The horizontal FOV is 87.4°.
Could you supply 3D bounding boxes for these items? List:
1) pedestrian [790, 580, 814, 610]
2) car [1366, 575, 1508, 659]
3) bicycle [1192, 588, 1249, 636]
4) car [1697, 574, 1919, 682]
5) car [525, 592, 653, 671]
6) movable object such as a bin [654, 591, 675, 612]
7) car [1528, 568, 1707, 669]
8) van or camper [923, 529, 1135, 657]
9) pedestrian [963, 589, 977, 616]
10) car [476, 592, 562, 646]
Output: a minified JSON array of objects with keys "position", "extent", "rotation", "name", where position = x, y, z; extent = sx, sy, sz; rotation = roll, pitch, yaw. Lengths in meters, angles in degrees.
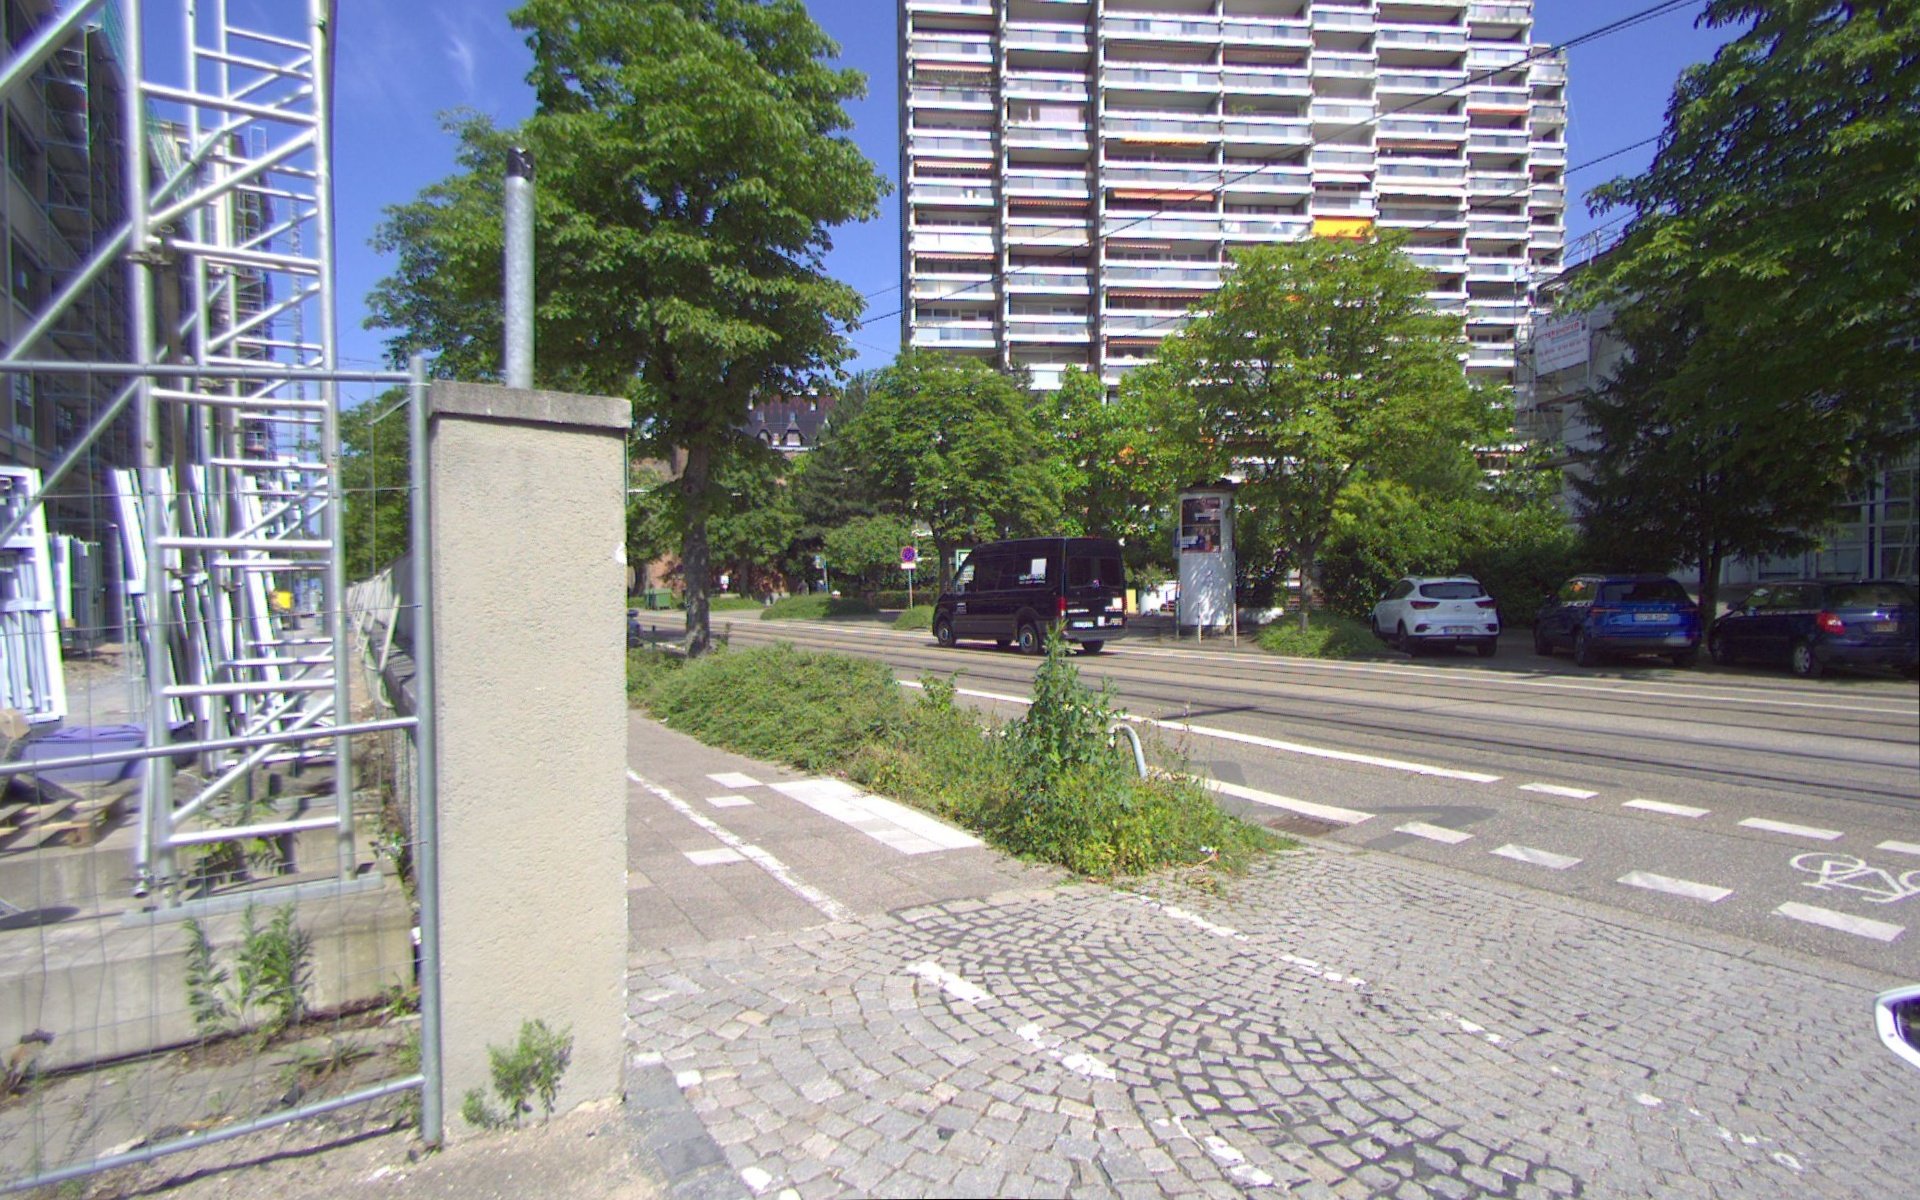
[{"position":[-9.866,-0.323,62.636],"extent":[1.048,1.822,1.253],"rotation":[0,1,-32],"name":"pedestrian"},{"position":[10.138,0.305,21.657],"extent":[1.783,1.628,3.947],"rotation":[0,1,10],"name":"car"},{"position":[7.505,0.327,28.955],"extent":[0.542,1.326,1.604],"rotation":[-1,1,-37],"name":"bicycle"},{"position":[13.681,0.378,16.245],"extent":[1.544,1.551,3.460],"rotation":[0,1,12],"name":"car"},{"position":[-8.120,0.606,21.781],"extent":[1.801,1.514,4.071],"rotation":[-1,1,-32],"name":"car"},{"position":[-20.890,0.080,71.047],"extent":[1.249,1.473,1.072],"rotation":[0,1,-27],"name":"movable object such as a bin"},{"position":[12.144,0.270,18.829],"extent":[1.745,1.644,3.945],"rotation":[-1,2,17],"name":"car"},{"position":[1.444,-0.178,23.837],"extent":[2.028,2.655,5.810],"rotation":[-1,1,-32],"name":"van or camper"},{"position":[0.437,0.100,44.711],"extent":[0.525,1.170,0.700],"rotation":[-1,1,-10],"name":"pedestrian"},{"position":[-13.232,0.517,30.040],"extent":[1.801,1.473,3.965],"rotation":[-1,1,-32],"name":"car"}]
